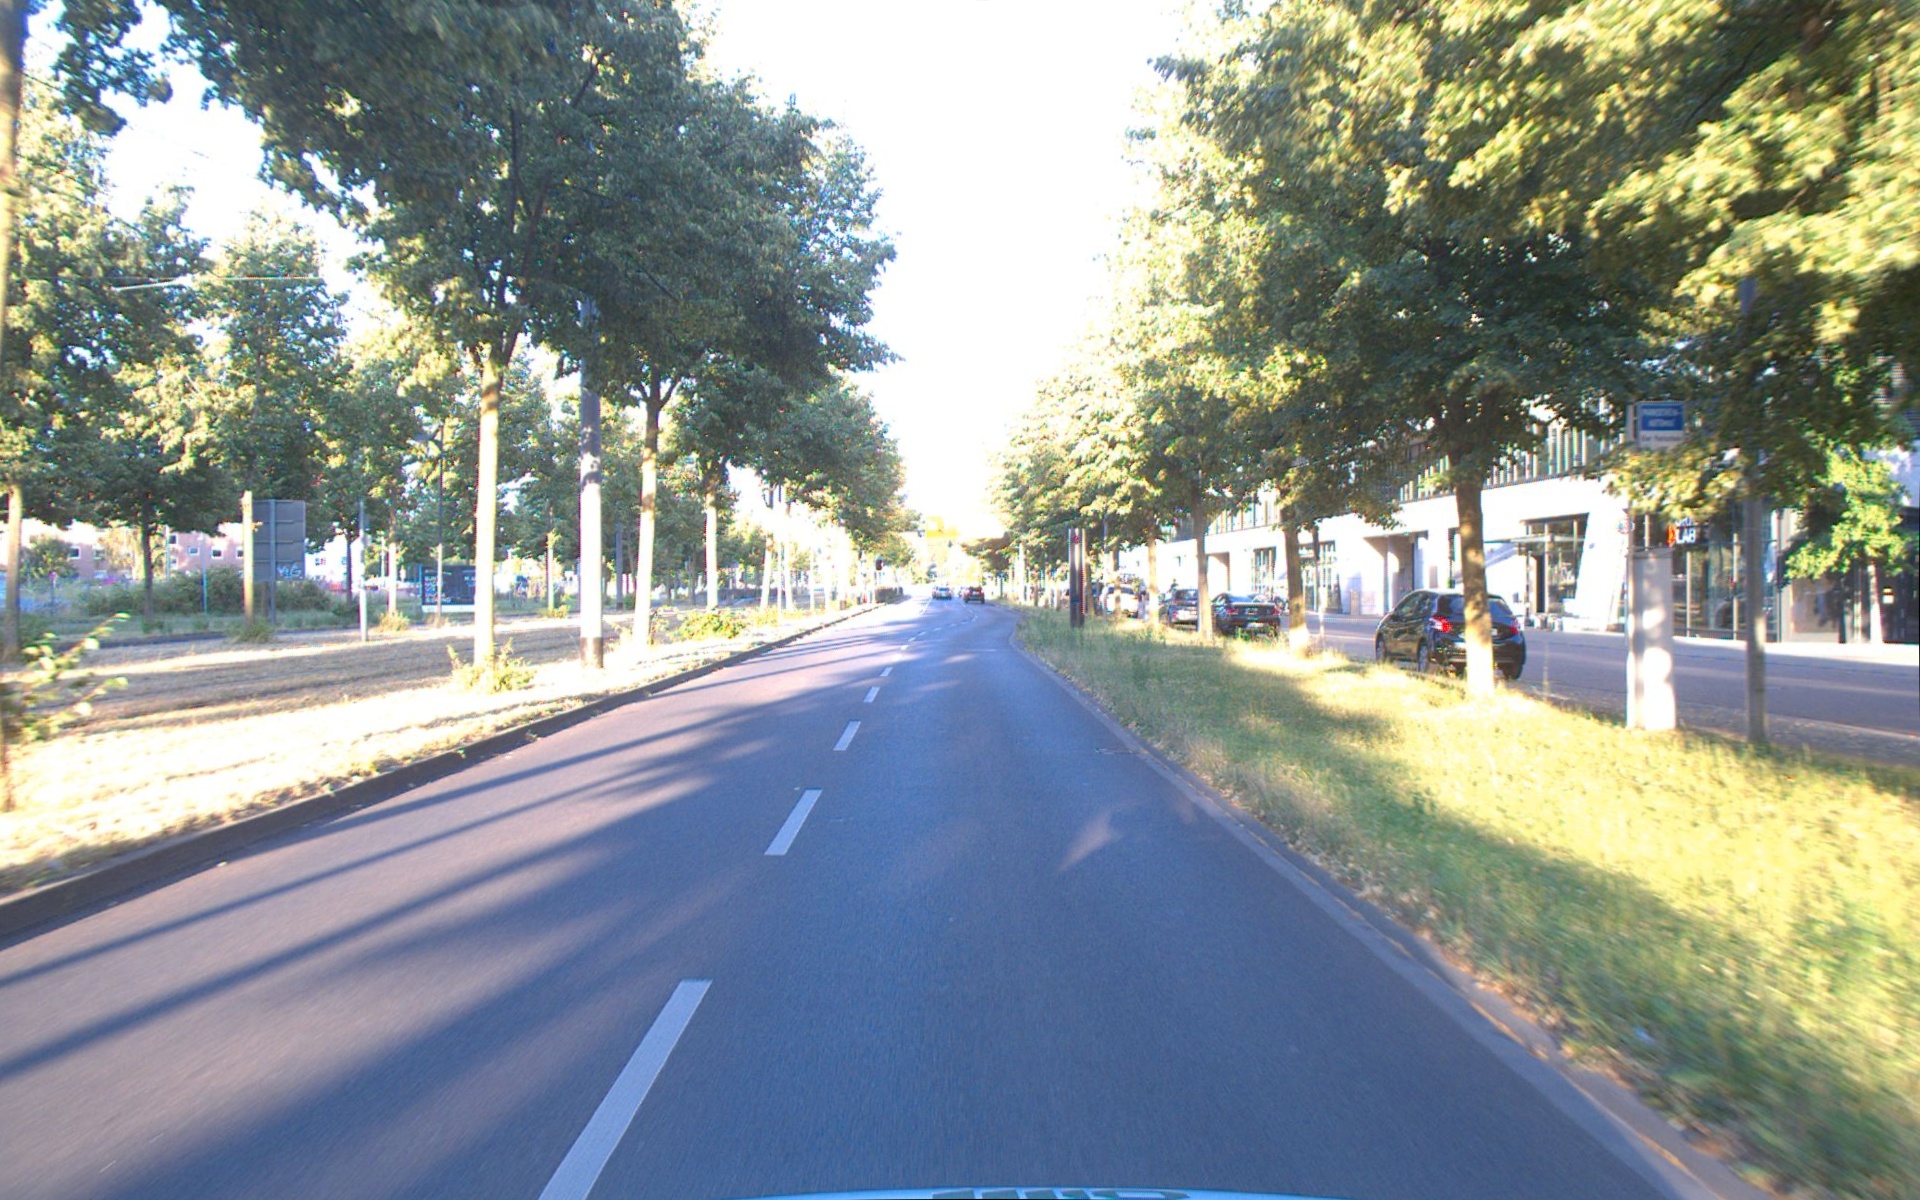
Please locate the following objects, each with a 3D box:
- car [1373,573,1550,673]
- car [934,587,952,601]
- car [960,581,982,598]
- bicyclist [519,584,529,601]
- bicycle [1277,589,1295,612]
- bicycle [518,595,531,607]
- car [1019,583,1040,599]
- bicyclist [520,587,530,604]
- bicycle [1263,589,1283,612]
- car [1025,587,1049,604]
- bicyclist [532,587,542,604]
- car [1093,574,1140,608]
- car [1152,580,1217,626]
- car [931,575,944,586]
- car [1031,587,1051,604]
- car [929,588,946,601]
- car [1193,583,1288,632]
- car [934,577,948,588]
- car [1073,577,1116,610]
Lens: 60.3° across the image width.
[{"bbox_3d":[8.552,0.338,28.545,1.744,1.520,4.000,3,1,-1],"label":"car"},{"bbox_3d":[-1.891,-0.707,181.128,1.873,1.512,3.999,0,0,-2],"label":"car"},{"bbox_3d":[0.967,-0.959,150.311,1.873,1.512,3.999,0,0,-2],"label":"car"},{"bbox_3d":[-37.159,-0.654,141.034,0.607,1.446,0.937,0,0,-3],"label":"bicyclist"},{"bbox_3d":[15.247,0.026,77.353,0.461,1.057,1.807,0,0,0],"label":"bicycle"},{"bbox_3d":[-37.753,0.084,143.380,0.607,1.029,2.082,0,0,-3],"label":"bicycle"},{"bbox_3d":[6.872,-0.909,164.673,1.722,1.491,4.156,0,0,-3],"label":"car"},{"bbox_3d":[-37.752,-0.376,143.587,0.607,1.482,0.937,0,0,-3],"label":"bicyclist"},{"bbox_3d":[14.690,0.011,77.616,0.582,1.057,1.892,0,0,0],"label":"bicycle"},{"bbox_3d":[6.964,-0.410,149.458,1.742,1.498,4.286,0,0,-3],"label":"car"},{"bbox_3d":[-36.765,-0.375,143.766,0.607,1.482,0.937,0,0,-3],"label":"bicyclist"},{"bbox_3d":[7.930,-0.451,84.207,1.953,1.671,4.878,0,0,0],"label":"car"},{"bbox_3d":[8.057,0.099,59.532,1.675,1.542,3.758,2,0,-2],"label":"car"},{"bbox_3d":[-3.318,-2.893,244.698,1.873,1.512,3.999,0,0,-2],"label":"car"},{"bbox_3d":[7.003,-0.393,142.608,1.543,1.498,3.881,0,0,0],"label":"car"},{"bbox_3d":[-2.604,-0.661,192.432,1.873,1.512,3.999,0,0,-2],"label":"car"},{"bbox_3d":[8.340,0.184,49.559,1.815,1.391,4.832,-1,1,-3],"label":"car"},{"bbox_3d":[-2.641,-2.466,230.110,1.873,1.512,3.999,0,0,-2],"label":"car"},{"bbox_3d":[7.840,-0.368,96.969,1.954,1.884,4.663,0,0,-3],"label":"car"}]
